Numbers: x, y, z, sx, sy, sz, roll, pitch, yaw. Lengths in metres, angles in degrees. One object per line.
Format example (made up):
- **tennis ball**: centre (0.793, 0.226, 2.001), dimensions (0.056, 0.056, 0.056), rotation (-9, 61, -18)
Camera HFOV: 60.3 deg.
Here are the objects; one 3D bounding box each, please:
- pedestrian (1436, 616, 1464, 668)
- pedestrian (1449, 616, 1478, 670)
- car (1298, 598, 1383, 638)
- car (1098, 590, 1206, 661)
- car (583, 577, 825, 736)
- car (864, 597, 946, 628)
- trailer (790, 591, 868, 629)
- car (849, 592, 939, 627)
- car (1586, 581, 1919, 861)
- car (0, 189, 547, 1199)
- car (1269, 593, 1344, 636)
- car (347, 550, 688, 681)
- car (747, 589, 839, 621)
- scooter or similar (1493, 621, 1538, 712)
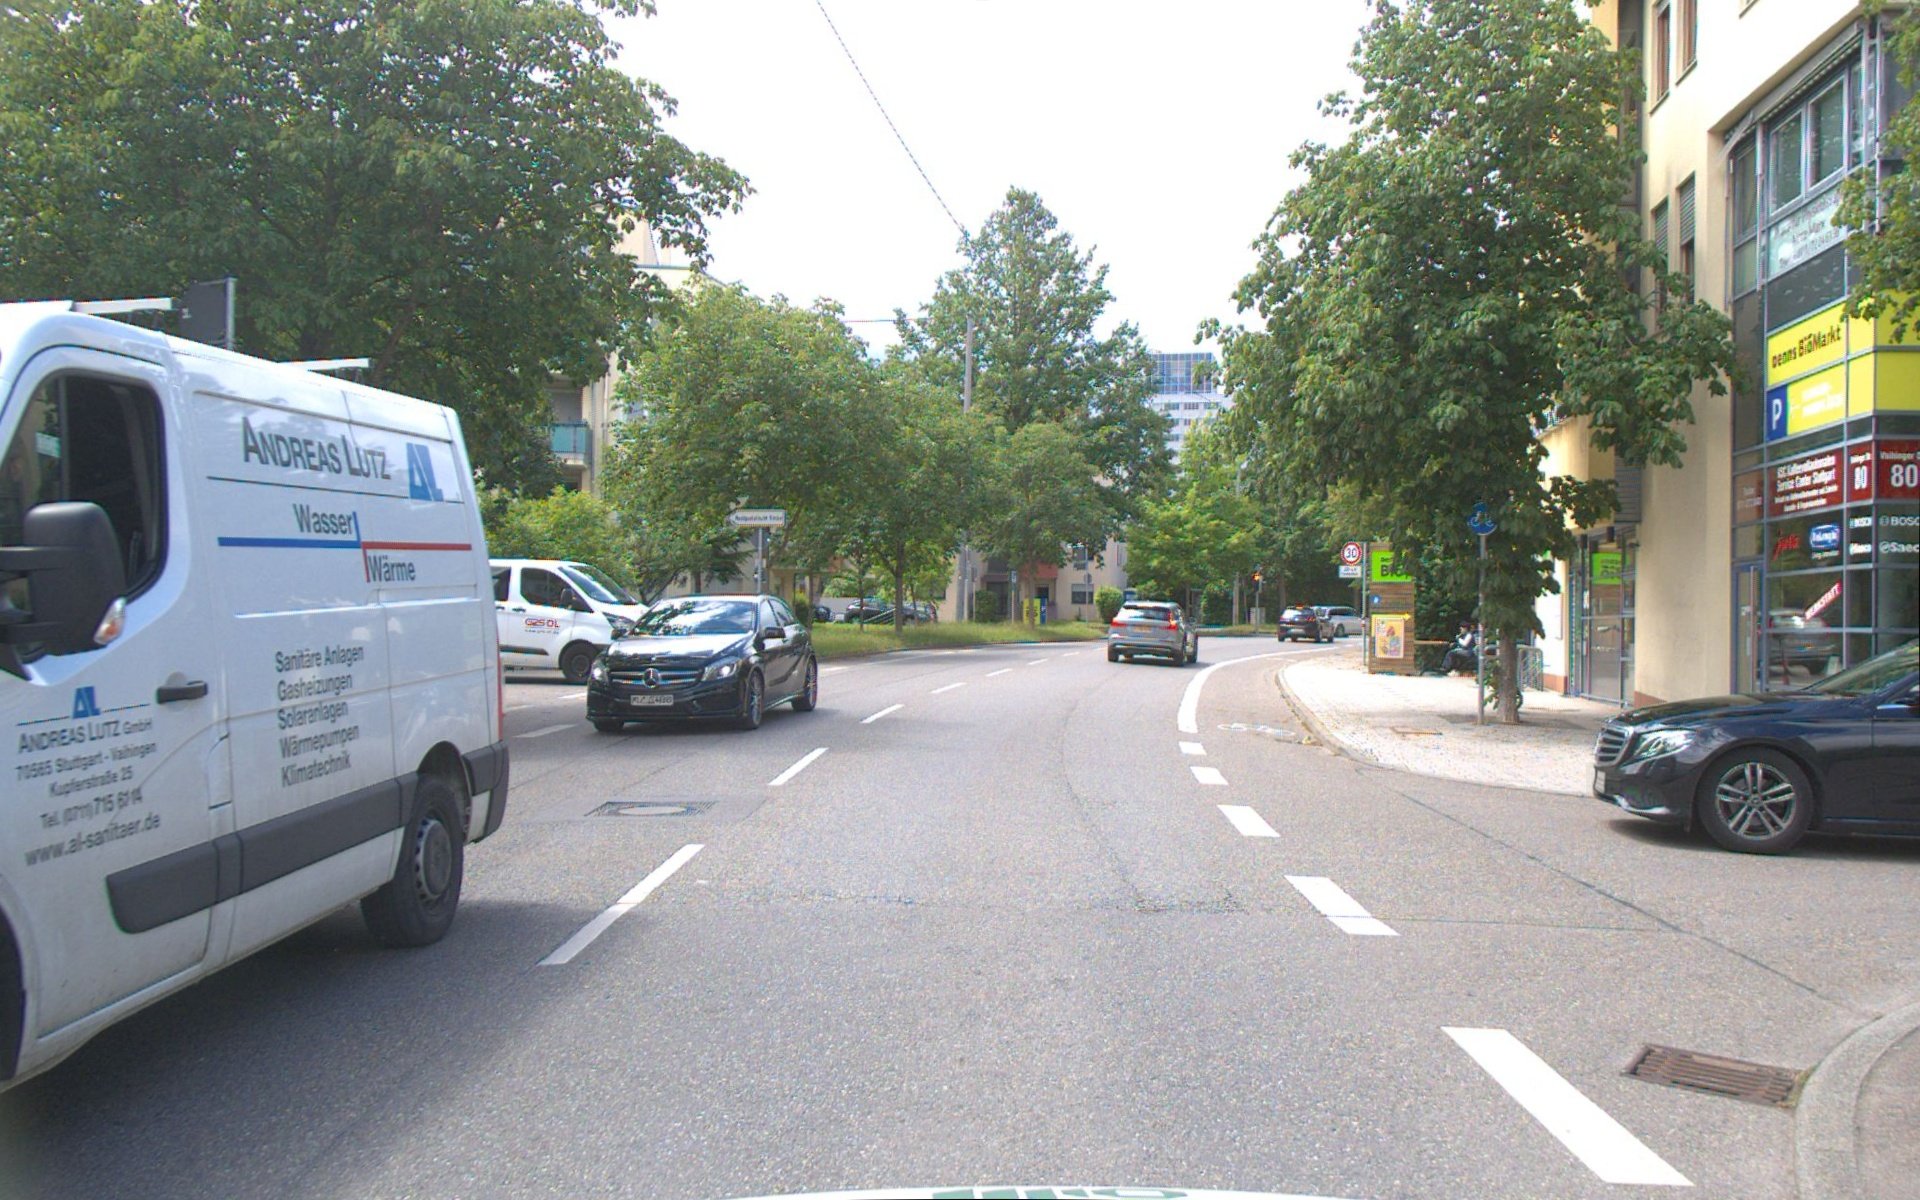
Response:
- **pedestrian**: centre (11.666, 1.004, 39.397), dimensions (0.510, 1.202, 0.501), rotation (2, -1, 1)
- **pedestrian**: centre (11.747, 1.002, 38.598), dimensions (0.564, 1.225, 0.503), rotation (2, -1, 12)
- **car**: centre (18.591, 0.868, 80.700), dimensions (4.289, 1.644, 1.784), rotation (4, 0, -41)
- **car**: centre (4.774, 0.591, 40.661), dimensions (1.915, 1.549, 4.332), rotation (3, 1, 16)
- **car**: centre (-2.725, 0.573, 18.550), dimensions (1.651, 1.508, 4.229), rotation (-2, 0, 5)
- **car**: centre (-2.933, 0.686, 88.598), dimensions (3.990, 1.424, 1.796), rotation (2, -4, 11)
- **trailer**: centre (-7.066, 0.528, 89.379), dimensions (3.823, 1.830, 1.631), rotation (2, -4, 8)
- **car**: centre (-3.153, 0.469, 79.589), dimensions (3.990, 1.424, 1.796), rotation (2, -4, 11)
- **car**: centre (6.692, 0.804, 10.848), dimensions (4.572, 1.657, 1.811), rotation (2, -1, 12)
- **car**: centre (-3.140, 0.252, 5.313), dimensions (2.020, 2.394, 5.185), rotation (-2, 1, 3)
- **car**: centre (14.029, 0.575, 66.808), dimensions (1.770, 1.549, 4.323), rotation (4, 1, 28)
- **car**: centre (-7.393, 0.265, 27.824), dimensions (5.101, 2.028, 2.110), rotation (-1, 0, 12)
- **car**: centre (-8.151, 0.244, 80.714), dimensions (4.086, 1.550, 1.903), rotation (0, -1, 11)
- **scooter or similar**: centre (8.431, 0.996, 25.128), dimensions (0.373, 1.339, 1.460), rotation (2, -1, 8)
